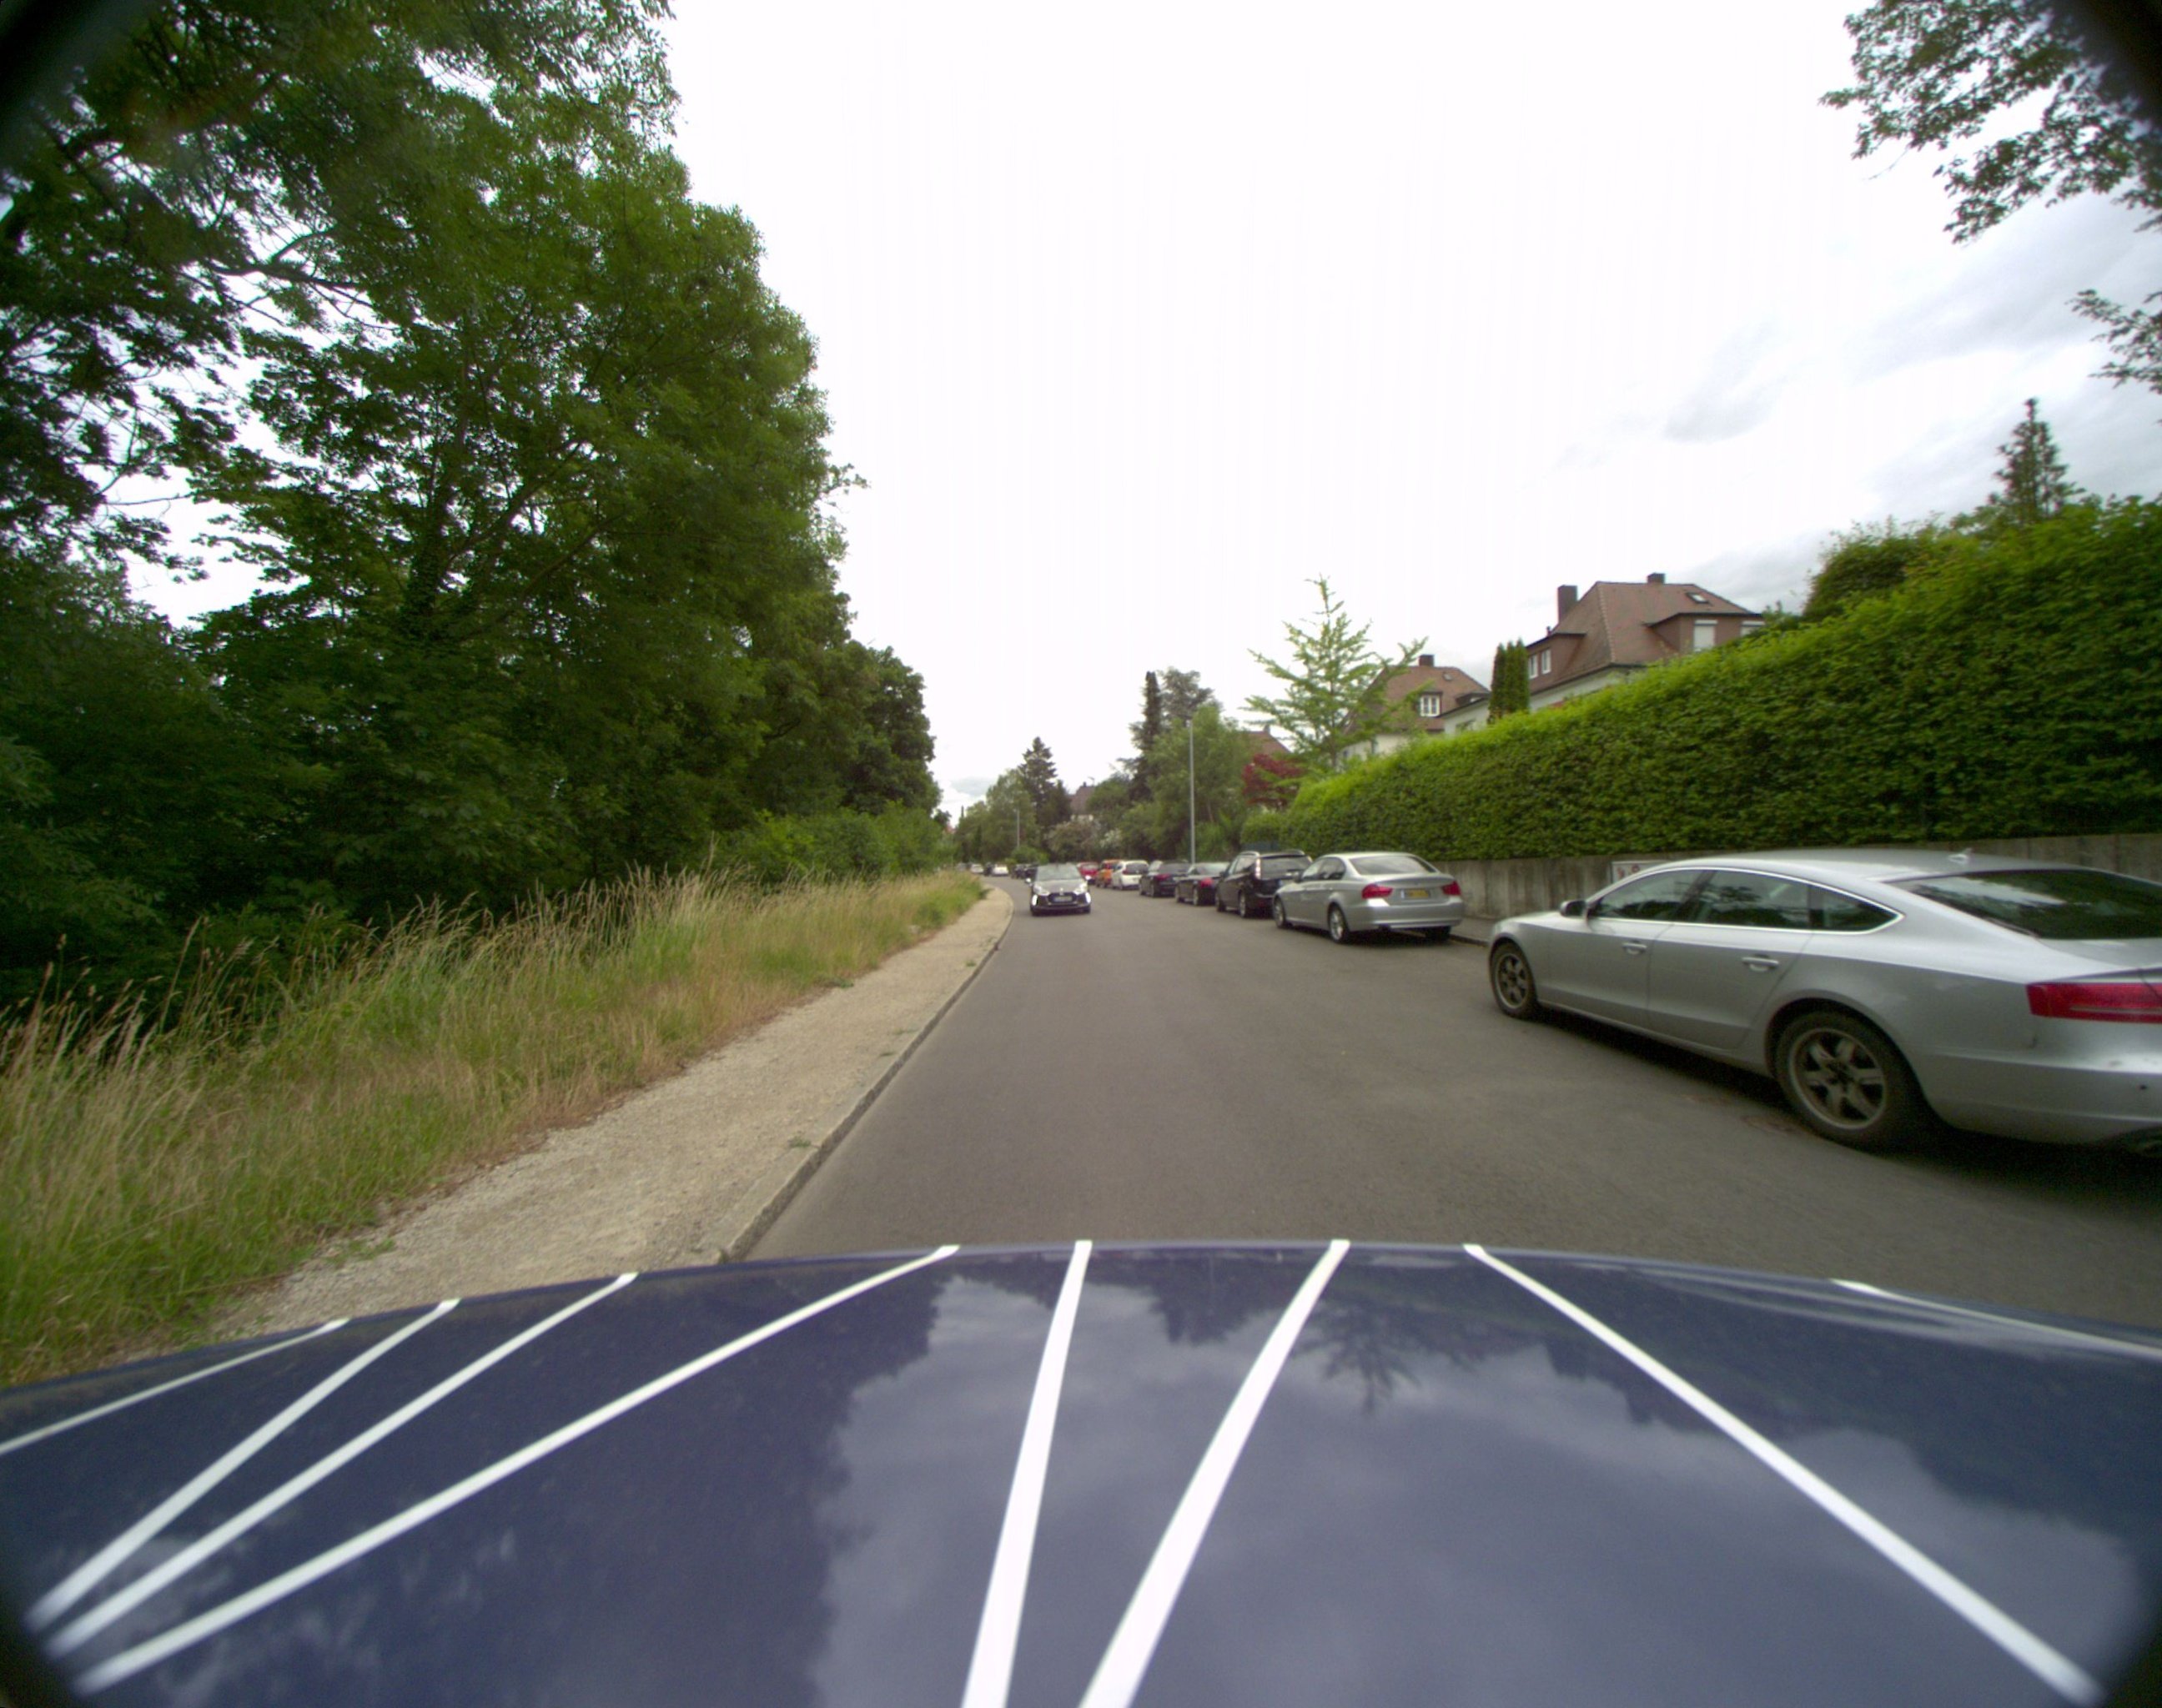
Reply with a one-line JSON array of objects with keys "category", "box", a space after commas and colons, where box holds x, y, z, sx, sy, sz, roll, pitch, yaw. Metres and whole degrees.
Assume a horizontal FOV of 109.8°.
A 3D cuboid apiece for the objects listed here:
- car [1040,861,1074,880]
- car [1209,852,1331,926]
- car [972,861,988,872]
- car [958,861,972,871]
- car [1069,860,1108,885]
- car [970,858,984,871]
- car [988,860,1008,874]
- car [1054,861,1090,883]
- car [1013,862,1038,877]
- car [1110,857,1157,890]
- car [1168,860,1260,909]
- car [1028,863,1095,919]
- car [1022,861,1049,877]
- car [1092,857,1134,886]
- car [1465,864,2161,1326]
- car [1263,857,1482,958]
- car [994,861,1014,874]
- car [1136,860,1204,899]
[{"category": "car", "box": [-1.953, 1.257, 60.420, 1.713, 1.402, 4.155, -2, 0, -15]}, {"category": "car", "box": [4.426, 0.762, 18.506, 1.661, 1.524, 4.473, -2, 0, -2]}, {"category": "car", "box": [-14.683, 1.749, 110.383, 1.713, 1.502, 4.549, -2, 0, -13]}, {"category": "car", "box": [-19.652, 2.086, 128.854, 1.802, 1.597, 4.724, -2, 0, -15]}, {"category": "car", "box": [0.440, 1.168, 50.227, 1.712, 1.505, 4.360, -2, 0, -10]}, {"category": "car", "box": [-15.961, 1.592, 116.333, 1.713, 1.789, 4.292, -2, 0, -14]}, {"category": "car", "box": [-10.447, 1.581, 95.483, 1.798, 1.654, 4.386, -2, 0, -15]}, {"category": "car", "box": [-0.697, 1.258, 55.319, 1.713, 1.505, 4.491, -2, 0, -12]}, {"category": "car", "box": [-5.655, 1.567, 76.628, 1.713, 1.408, 4.144, -2, 0, -15]}, {"category": "car", "box": [2.593, 0.951, 38.256, 1.593, 1.505, 3.588, -2, 0, -8]}, {"category": "car", "box": [4.113, 0.901, 24.189, 1.716, 1.333, 4.105, -2, 0, -7]}, {"category": "car", "box": [-0.684, 1.030, 23.040, 1.712, 1.466, 4.193, -2, 0, -5]}, {"category": "car", "box": [-4.360, 1.439, 71.898, 1.713, 1.408, 4.127, -2, 0, -15]}, {"category": "car", "box": [1.770, 0.961, 43.004, 1.549, 1.505, 3.641, -2, 0, -10]}, {"category": "car", "box": [4.389, 0.803, 4.633, 1.836, 1.366, 4.445, -2, 0, 1]}, {"category": "car", "box": [4.671, 0.771, 12.977, 1.780, 1.366, 4.339, -2, 0, -4]}, {"category": "car", "box": [-9.290, 1.588, 91.072, 1.713, 1.502, 3.941, -2, 0, -15]}, {"category": "car", "box": [3.459, 0.949, 30.323, 1.723, 1.376, 4.661, -2, 0, -5]}]
